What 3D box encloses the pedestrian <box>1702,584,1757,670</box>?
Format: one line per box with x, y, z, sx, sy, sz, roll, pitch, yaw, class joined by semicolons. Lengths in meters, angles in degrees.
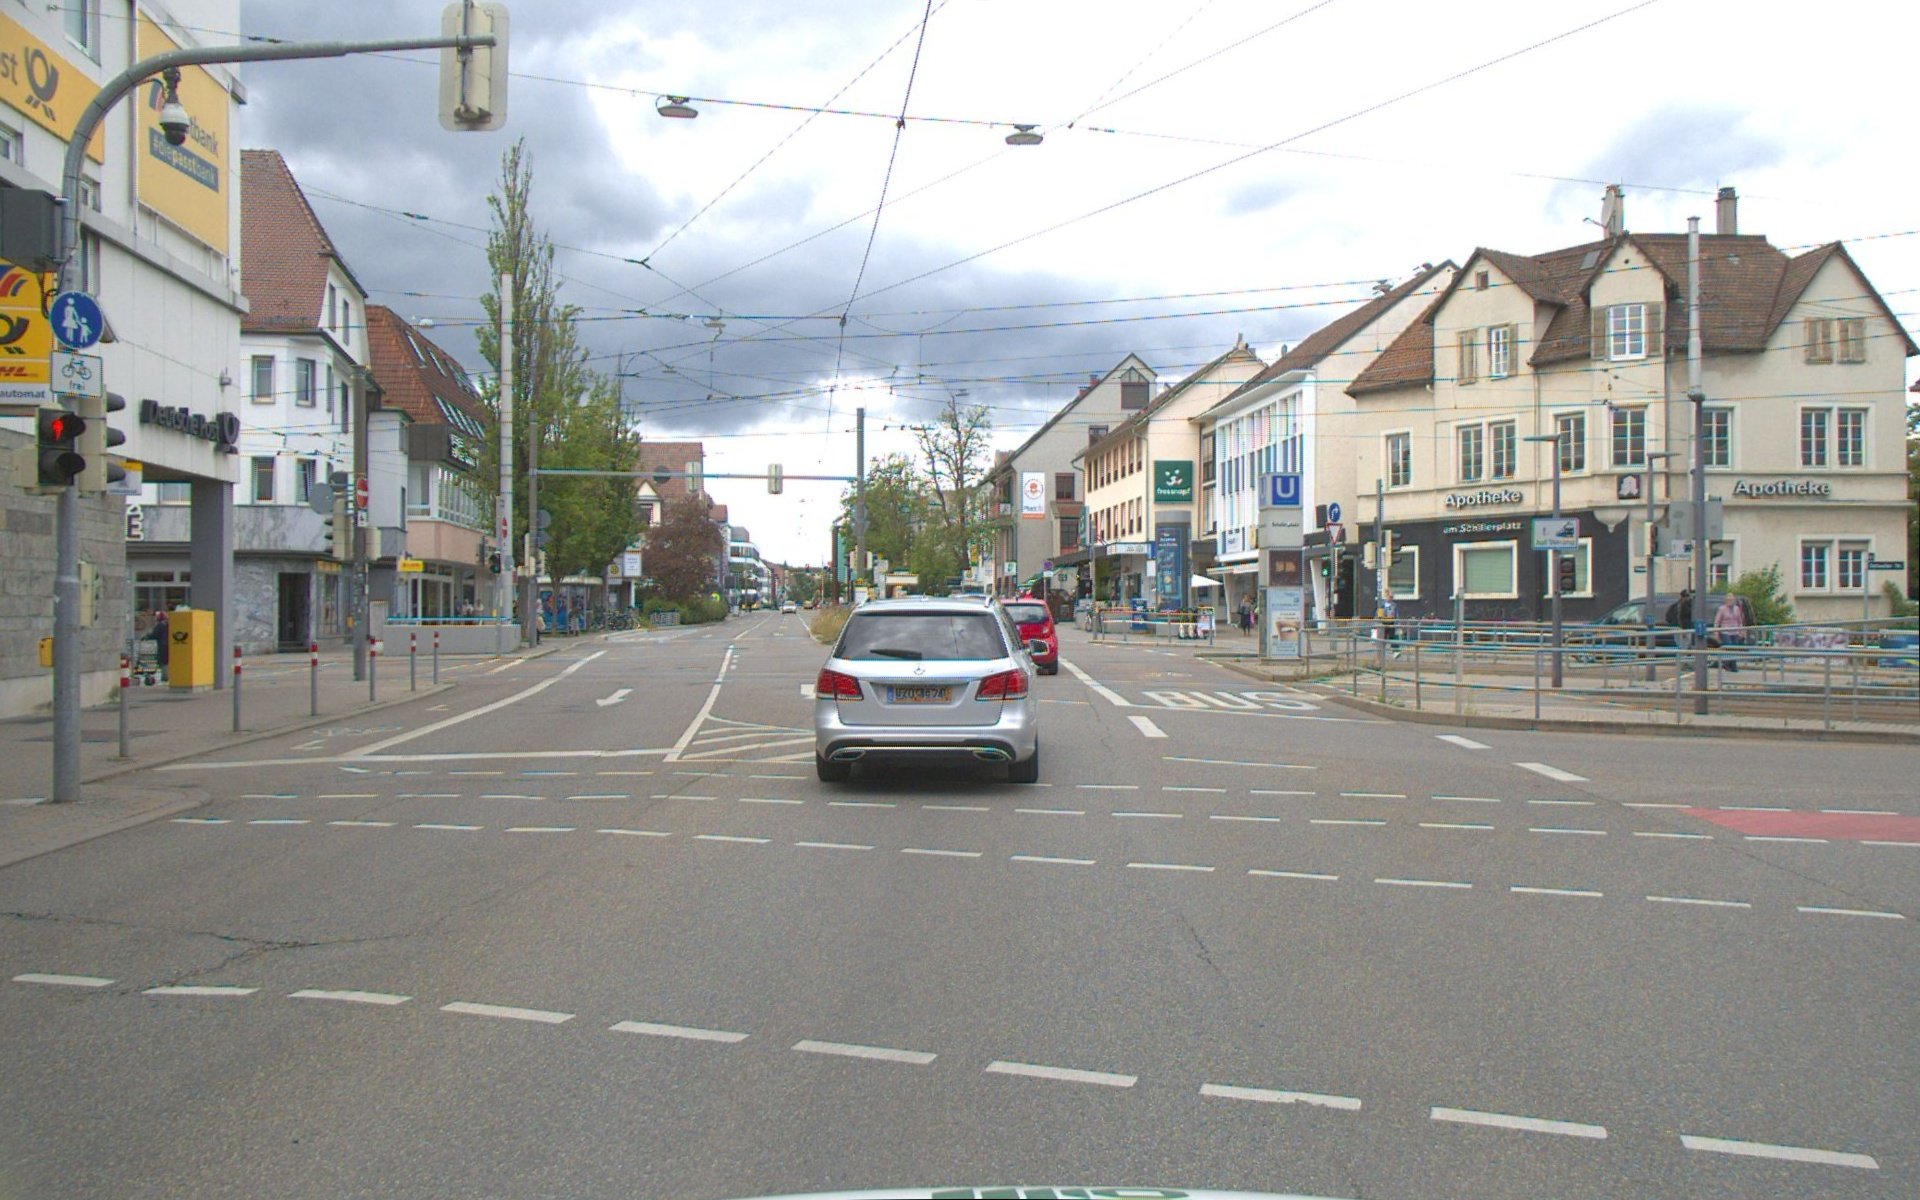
15.973;0.548;34.350;0.772;1.748;0.648;1;0;-9;pedestrian

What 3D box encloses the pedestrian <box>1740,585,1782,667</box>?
17.444;0.556;36.042;0.771;1.748;0.649;1;0;25;pedestrian

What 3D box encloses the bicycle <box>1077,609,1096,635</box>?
5.355;0.931;70.223;0.439;1.110;2.147;-1;0;-5;bicycle

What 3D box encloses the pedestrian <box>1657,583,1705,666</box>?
15.473;0.527;35.506;0.689;1.748;0.648;-1;0;-10;pedestrian

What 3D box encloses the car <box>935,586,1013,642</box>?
0.359;0.400;48.109;1.702;1.534;3.993;-1;0;-8;car

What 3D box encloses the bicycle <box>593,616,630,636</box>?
-18.793;1.423;89.123;1.906;1.047;0.528;1;-1;-16;bicycle

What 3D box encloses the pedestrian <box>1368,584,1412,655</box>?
10.847;0.484;41.716;0.825;1.748;0.725;-1;0;-9;pedestrian

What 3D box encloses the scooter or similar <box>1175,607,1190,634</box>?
8.514;0.798;63.267;0.266;1.019;1.027;0;0;-9;scooter or similar

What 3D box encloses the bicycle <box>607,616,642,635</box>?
-18.890;1.451;93.115;1.906;1.047;0.528;1;-1;-16;bicycle

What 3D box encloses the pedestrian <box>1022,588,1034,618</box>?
3.386;0.146;82.552;0.566;1.495;0.651;1;-1;-3;pedestrian

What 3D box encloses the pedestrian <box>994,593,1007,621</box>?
2.127;0.384;86.870;0.567;1.460;0.649;1;-1;-12;pedestrian

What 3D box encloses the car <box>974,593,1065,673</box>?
1.267;0.628;33.866;1.697;1.534;4.002;0;0;4;car

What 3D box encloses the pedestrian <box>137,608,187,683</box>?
-15.492;0.879;32.113;0.491;1.439;0.753;0;0;19;pedestrian

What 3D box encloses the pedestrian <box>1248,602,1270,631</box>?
12.432;0.680;68.720;0.722;1.184;0.641;1;-1;-8;pedestrian

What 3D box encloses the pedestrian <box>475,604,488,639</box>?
-22.540;1.028;77.877;0.569;1.634;0.641;0;-1;-19;pedestrian

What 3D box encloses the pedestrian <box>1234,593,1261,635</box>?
11.290;0.548;64.891;0.632;1.619;0.891;1;-1;-26;pedestrian

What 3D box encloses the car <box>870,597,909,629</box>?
-4.046;0.740;94.351;1.955;1.780;3.995;0;0;-6;car

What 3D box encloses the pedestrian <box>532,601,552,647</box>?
-14.857;0.845;58.826;0.624;1.634;0.701;0;0;-19;pedestrian

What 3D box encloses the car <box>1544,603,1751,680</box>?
17.615;1.036;42.505;4.607;1.853;1.855;0;-2;39;car

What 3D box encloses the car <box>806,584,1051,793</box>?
-0.121;0.661;14.382;1.807;1.534;4.173;-1;0;3;car

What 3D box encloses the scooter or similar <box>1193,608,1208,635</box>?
9.220;0.810;63.410;0.266;1.019;1.027;0;0;-9;scooter or similar

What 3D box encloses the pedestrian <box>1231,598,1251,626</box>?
12.168;0.508;71.635;0.722;1.184;0.641;1;-1;-8;pedestrian

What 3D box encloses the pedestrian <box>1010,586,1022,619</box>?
2.911;0.112;85.986;0.566;1.695;0.651;1;-1;0;pedestrian

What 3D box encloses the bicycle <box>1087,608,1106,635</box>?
5.793;0.919;70.269;0.439;1.127;2.147;-1;0;-5;bicycle

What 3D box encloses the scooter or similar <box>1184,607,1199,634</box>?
8.867;0.787;63.343;0.266;1.019;1.027;0;0;-9;scooter or similar

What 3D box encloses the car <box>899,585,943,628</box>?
-1.743;0.288;72.408;1.700;1.790;3.996;-1;0;-5;car

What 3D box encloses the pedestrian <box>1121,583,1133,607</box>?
8.682;-0.242;86.092;0.523;1.240;0.578;1;-1;-8;pedestrian

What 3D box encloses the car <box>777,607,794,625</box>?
-21.320;1.947;202.401;1.956;2.049;3.993;0;0;-8;car

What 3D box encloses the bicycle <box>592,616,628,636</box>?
-18.992;1.426;89.765;1.906;1.047;0.528;1;-1;-16;bicycle

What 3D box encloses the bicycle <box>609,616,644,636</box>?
-18.594;1.448;92.168;1.906;1.047;0.528;1;-1;-16;bicycle

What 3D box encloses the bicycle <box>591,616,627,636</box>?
-19.176;1.428;90.341;1.906;1.047;0.528;1;-1;-16;bicycle

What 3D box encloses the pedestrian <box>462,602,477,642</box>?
-22.698;1.016;76.503;0.633;1.868;0.576;0;-1;-20;pedestrian

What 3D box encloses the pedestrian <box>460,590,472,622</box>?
-25.065;0.316;83.940;0.569;1.634;0.641;0;-1;-19;pedestrian
